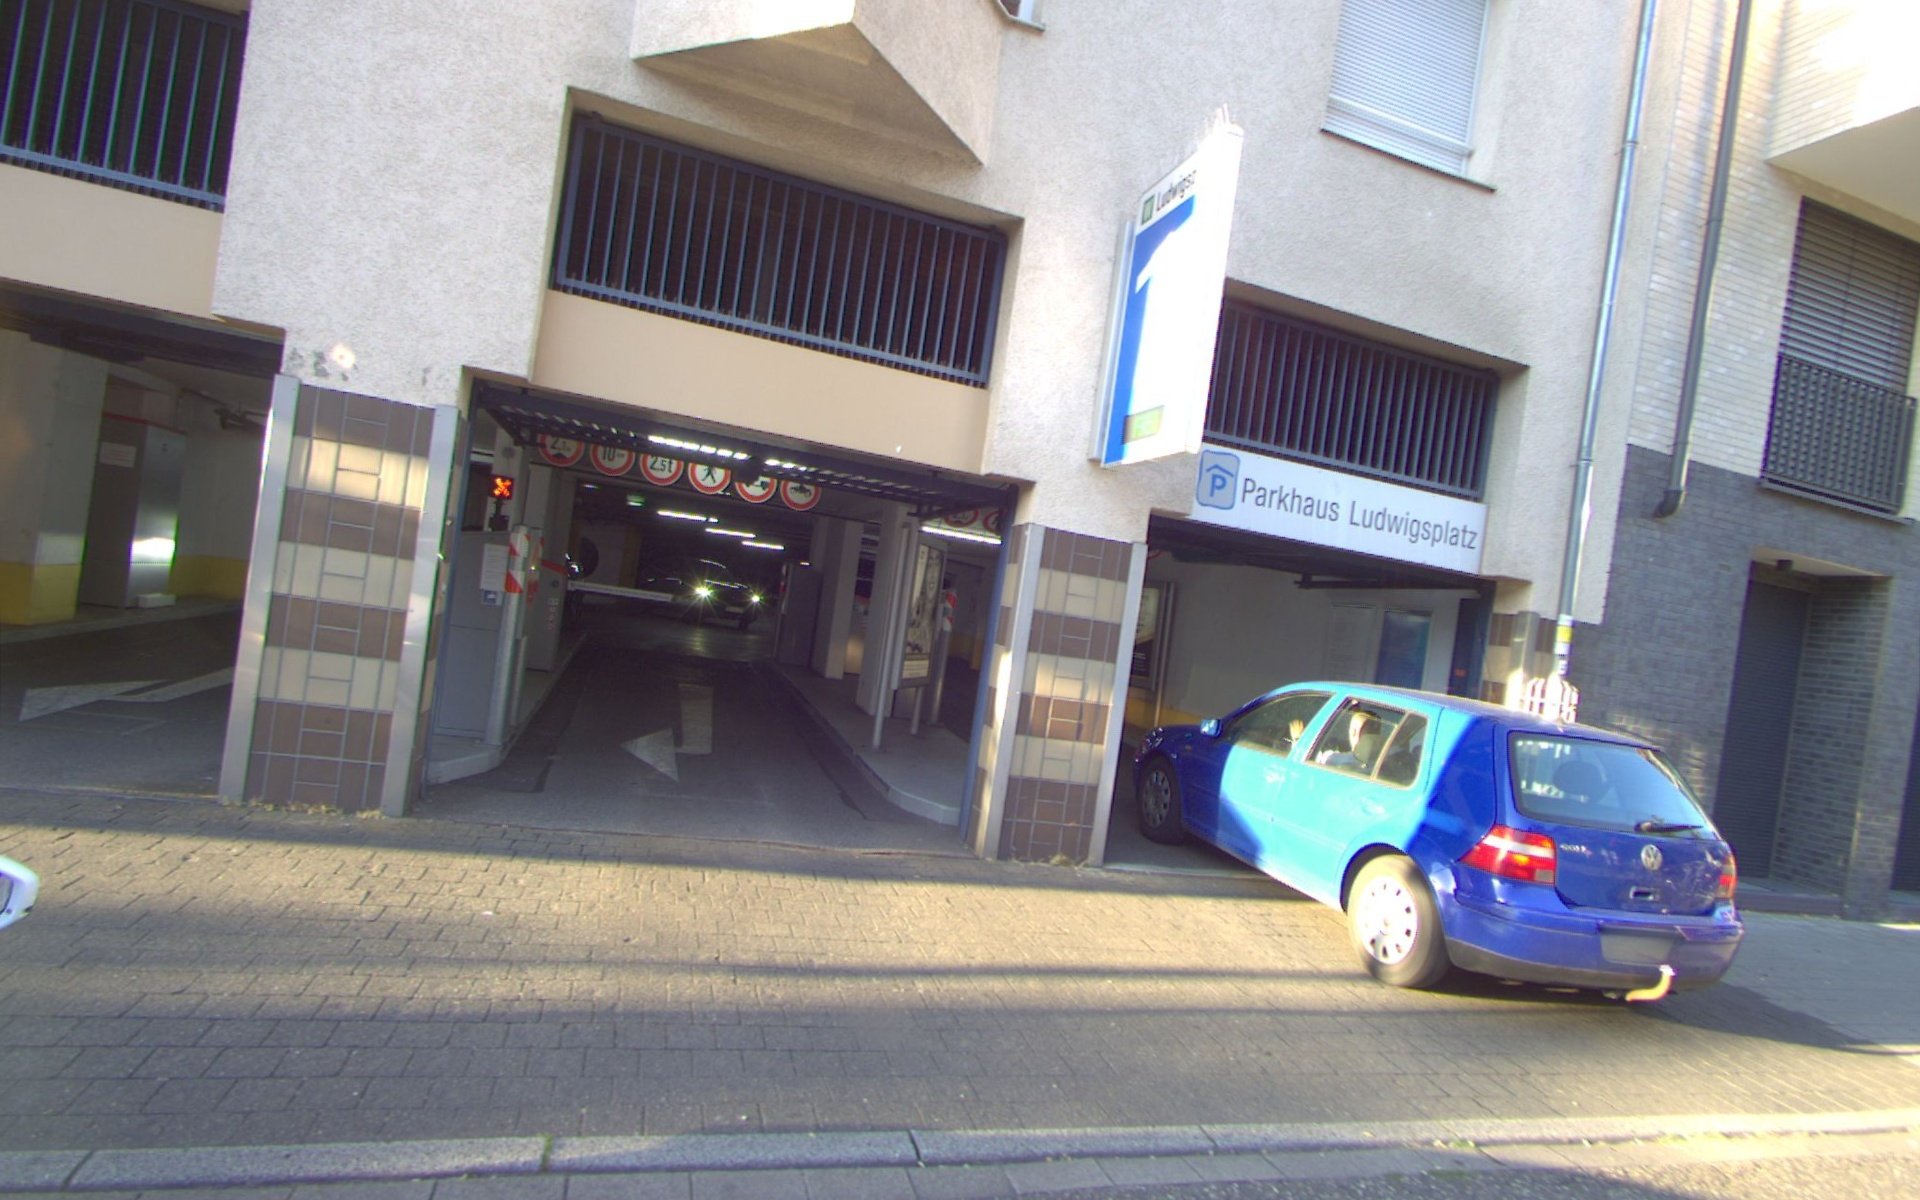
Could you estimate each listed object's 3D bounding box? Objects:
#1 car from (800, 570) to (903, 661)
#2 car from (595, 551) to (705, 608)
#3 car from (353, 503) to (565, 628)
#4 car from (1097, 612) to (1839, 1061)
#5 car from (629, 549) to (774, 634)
[{"bbox_3d":[-2.527,0.273,22.681,1.537,1.638,3.867,8,0,-15],"label":"car"},{"bbox_3d":[-10.880,-0.720,35.188,3.820,1.408,1.604,9,1,36],"label":"car"},{"bbox_3d":[-8.178,-0.548,16.893,1.788,1.592,4.243,8,0,-9],"label":"car"},{"bbox_3d":[2.598,1.133,6.414,1.669,1.583,4.100,8,1,-17],"label":"car"},{"bbox_3d":[-6.895,-0.268,26.562,1.879,1.643,4.250,9,0,-41],"label":"car"}]
